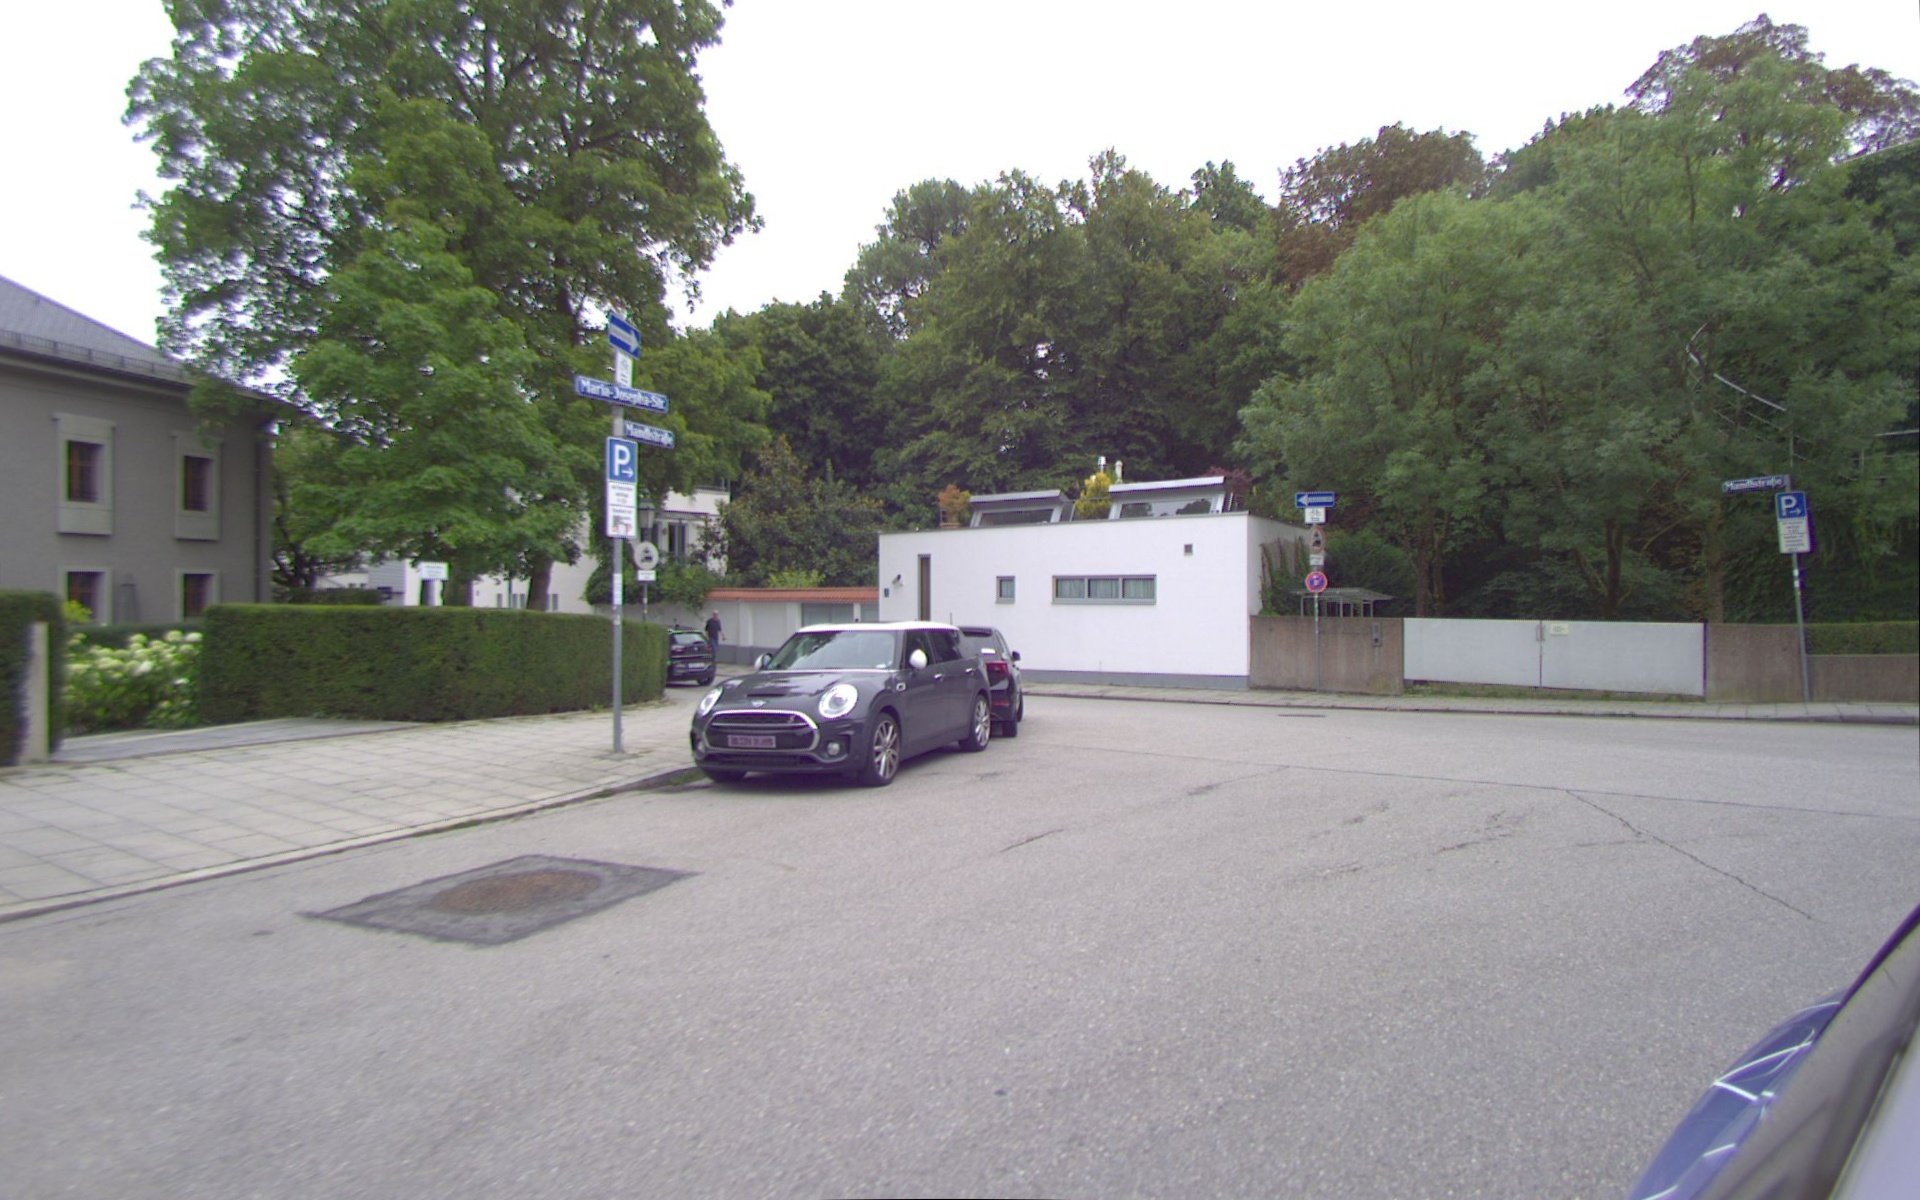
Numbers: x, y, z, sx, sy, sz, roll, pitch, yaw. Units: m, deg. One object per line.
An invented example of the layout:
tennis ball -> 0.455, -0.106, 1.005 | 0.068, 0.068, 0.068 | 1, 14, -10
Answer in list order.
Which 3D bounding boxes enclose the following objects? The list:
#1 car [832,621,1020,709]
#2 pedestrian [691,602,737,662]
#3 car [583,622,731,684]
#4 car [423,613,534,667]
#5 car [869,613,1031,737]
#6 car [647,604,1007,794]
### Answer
car -> -0.755, 1.181, 19.190 | 1.902, 1.465, 4.017 | 2, -3, -30
pedestrian -> -8.189, 1.057, 33.701 | 1.225, 1.956, 0.938 | -1, -1, 39
car -> -8.098, 1.351, 26.895 | 3.996, 1.465, 1.913 | 0, -1, 40
car -> -16.154, 1.289, 33.894 | 3.996, 1.684, 1.913 | 0, -1, 40
car -> 0.000, 1.001, 14.366 | 1.864, 1.465, 4.007 | -2, -3, 5
car -> -1.041, 0.851, 10.140 | 1.873, 1.465, 4.241 | -2, -2, 19
